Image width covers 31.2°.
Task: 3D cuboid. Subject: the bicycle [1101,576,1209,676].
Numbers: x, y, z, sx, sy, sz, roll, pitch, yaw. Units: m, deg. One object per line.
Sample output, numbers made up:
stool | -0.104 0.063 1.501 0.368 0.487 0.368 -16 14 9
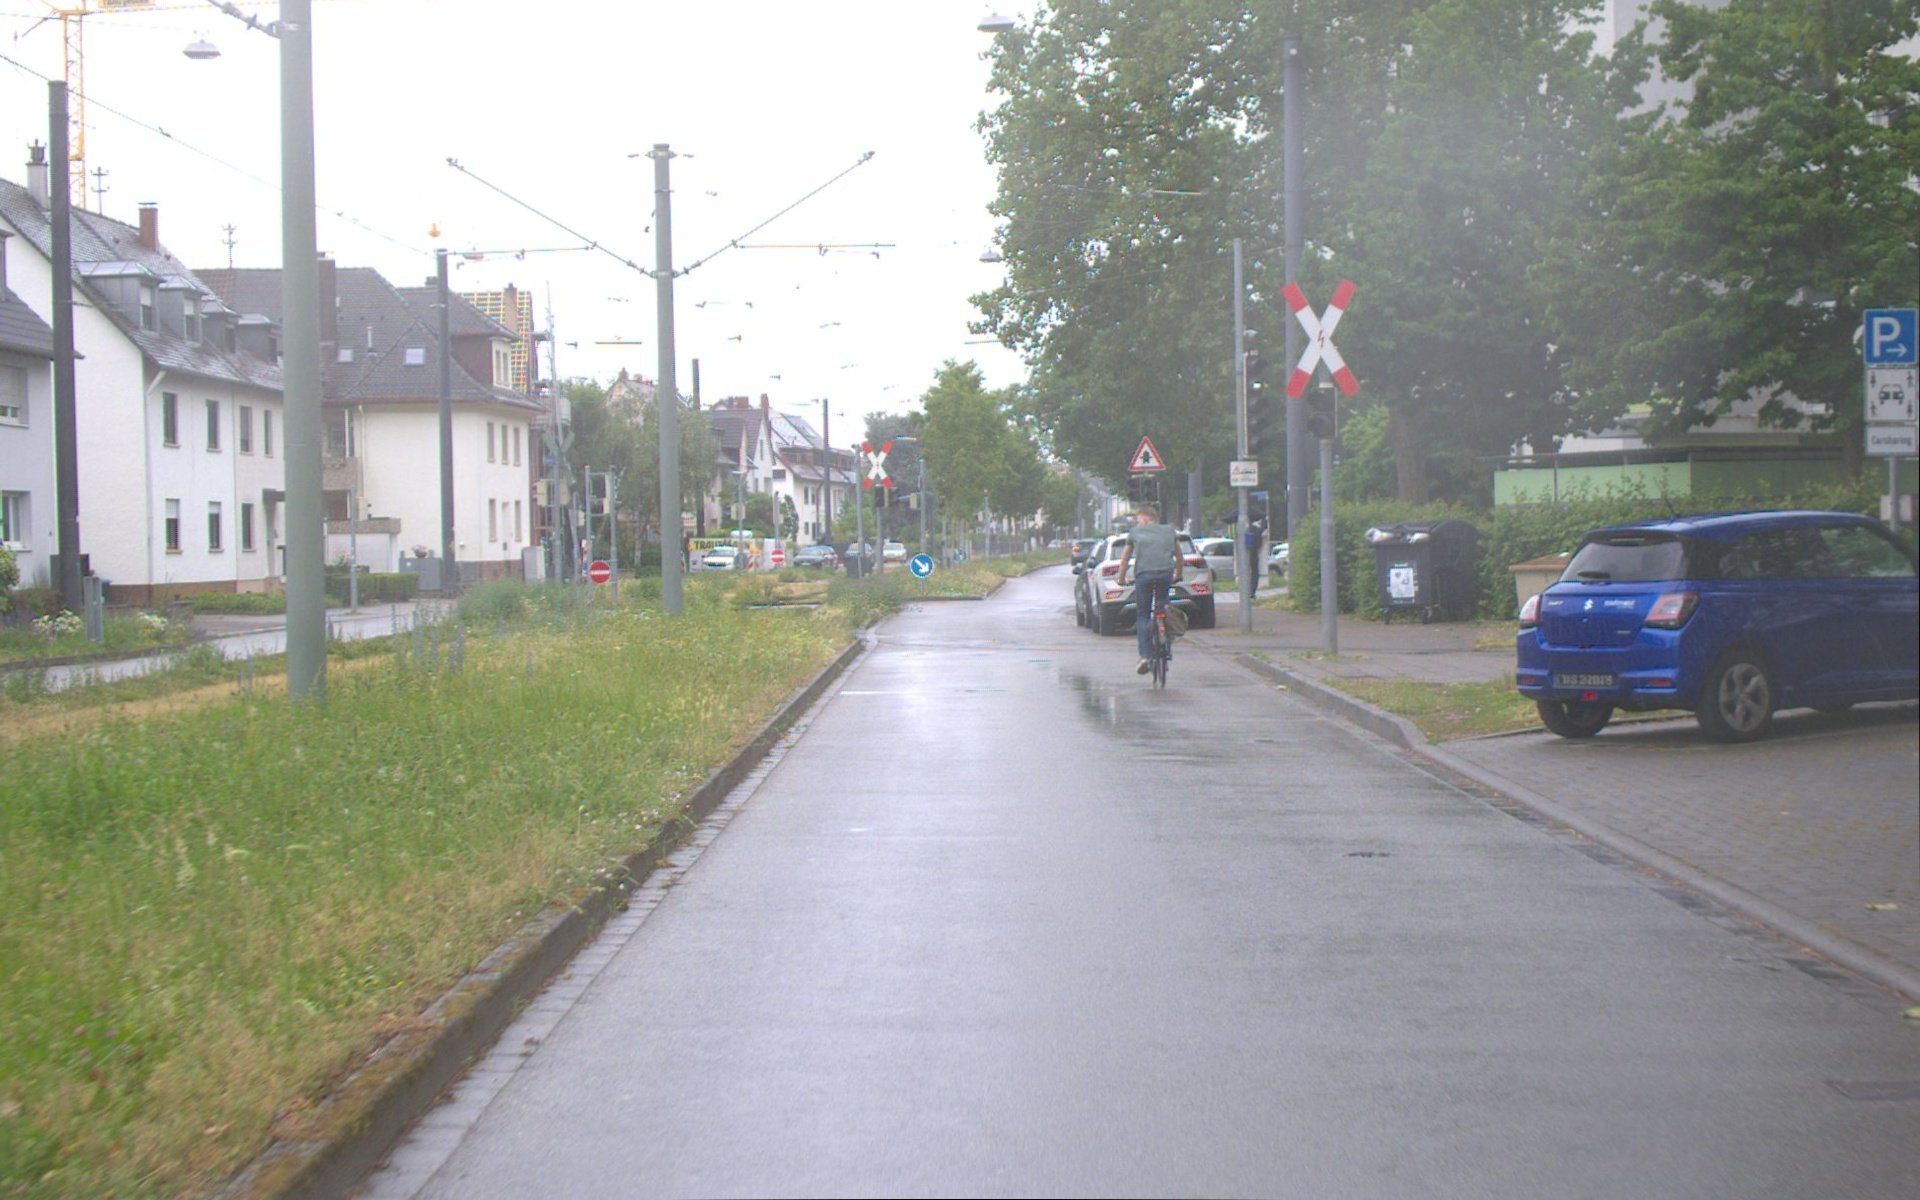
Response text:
bicycle | 1.875 0.245 33.334 0.821 0.909 1.986 -2 0 -2

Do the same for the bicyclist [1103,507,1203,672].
bicyclist | 1.863 -0.099 33.334 0.831 1.553 0.914 -2 0 -2

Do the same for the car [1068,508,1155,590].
car | 3.940 -1.312 89.997 1.941 2.006 4.000 -3 0 -1

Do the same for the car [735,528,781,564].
car | -10.336 -2.745 175.914 1.993 1.699 4.000 -1 -1 2

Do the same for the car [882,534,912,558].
car | -4.531 -3.889 248.429 1.993 1.539 4.000 -1 -1 2

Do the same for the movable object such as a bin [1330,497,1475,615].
movable object such as a bin | 6.624 -0.663 51.530 1.549 1.698 1.501 -2 1 -23

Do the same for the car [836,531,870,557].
car | -7.040 -3.716 226.863 1.993 1.539 4.000 -1 -1 2

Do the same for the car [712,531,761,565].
car | -10.996 -2.561 169.457 1.993 1.539 4.000 -1 -1 2

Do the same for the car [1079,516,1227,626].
car | 2.972 -0.444 53.696 1.954 1.548 4.000 -3 0 -1

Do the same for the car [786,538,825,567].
car | -9.026 -2.747 200.898 1.993 1.539 4.000 -1 -1 2

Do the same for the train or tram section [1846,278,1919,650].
train or tram section | 14.651 -1.322 29.151 2.707 3.577 14.730 0 0 -42

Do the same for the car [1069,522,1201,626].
car | 2.976 -0.440 59.247 1.941 1.646 4.000 -3 0 -1

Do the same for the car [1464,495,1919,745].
car | 5.665 0.070 23.601 3.987 1.478 2.000 -3 3 -31

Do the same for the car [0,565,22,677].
car | -13.767 0.278 44.891 1.877 1.498 4.133 -1 -1 0

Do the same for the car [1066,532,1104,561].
car | 7.102 -3.055 195.490 1.993 1.487 4.000 -1 -1 1
